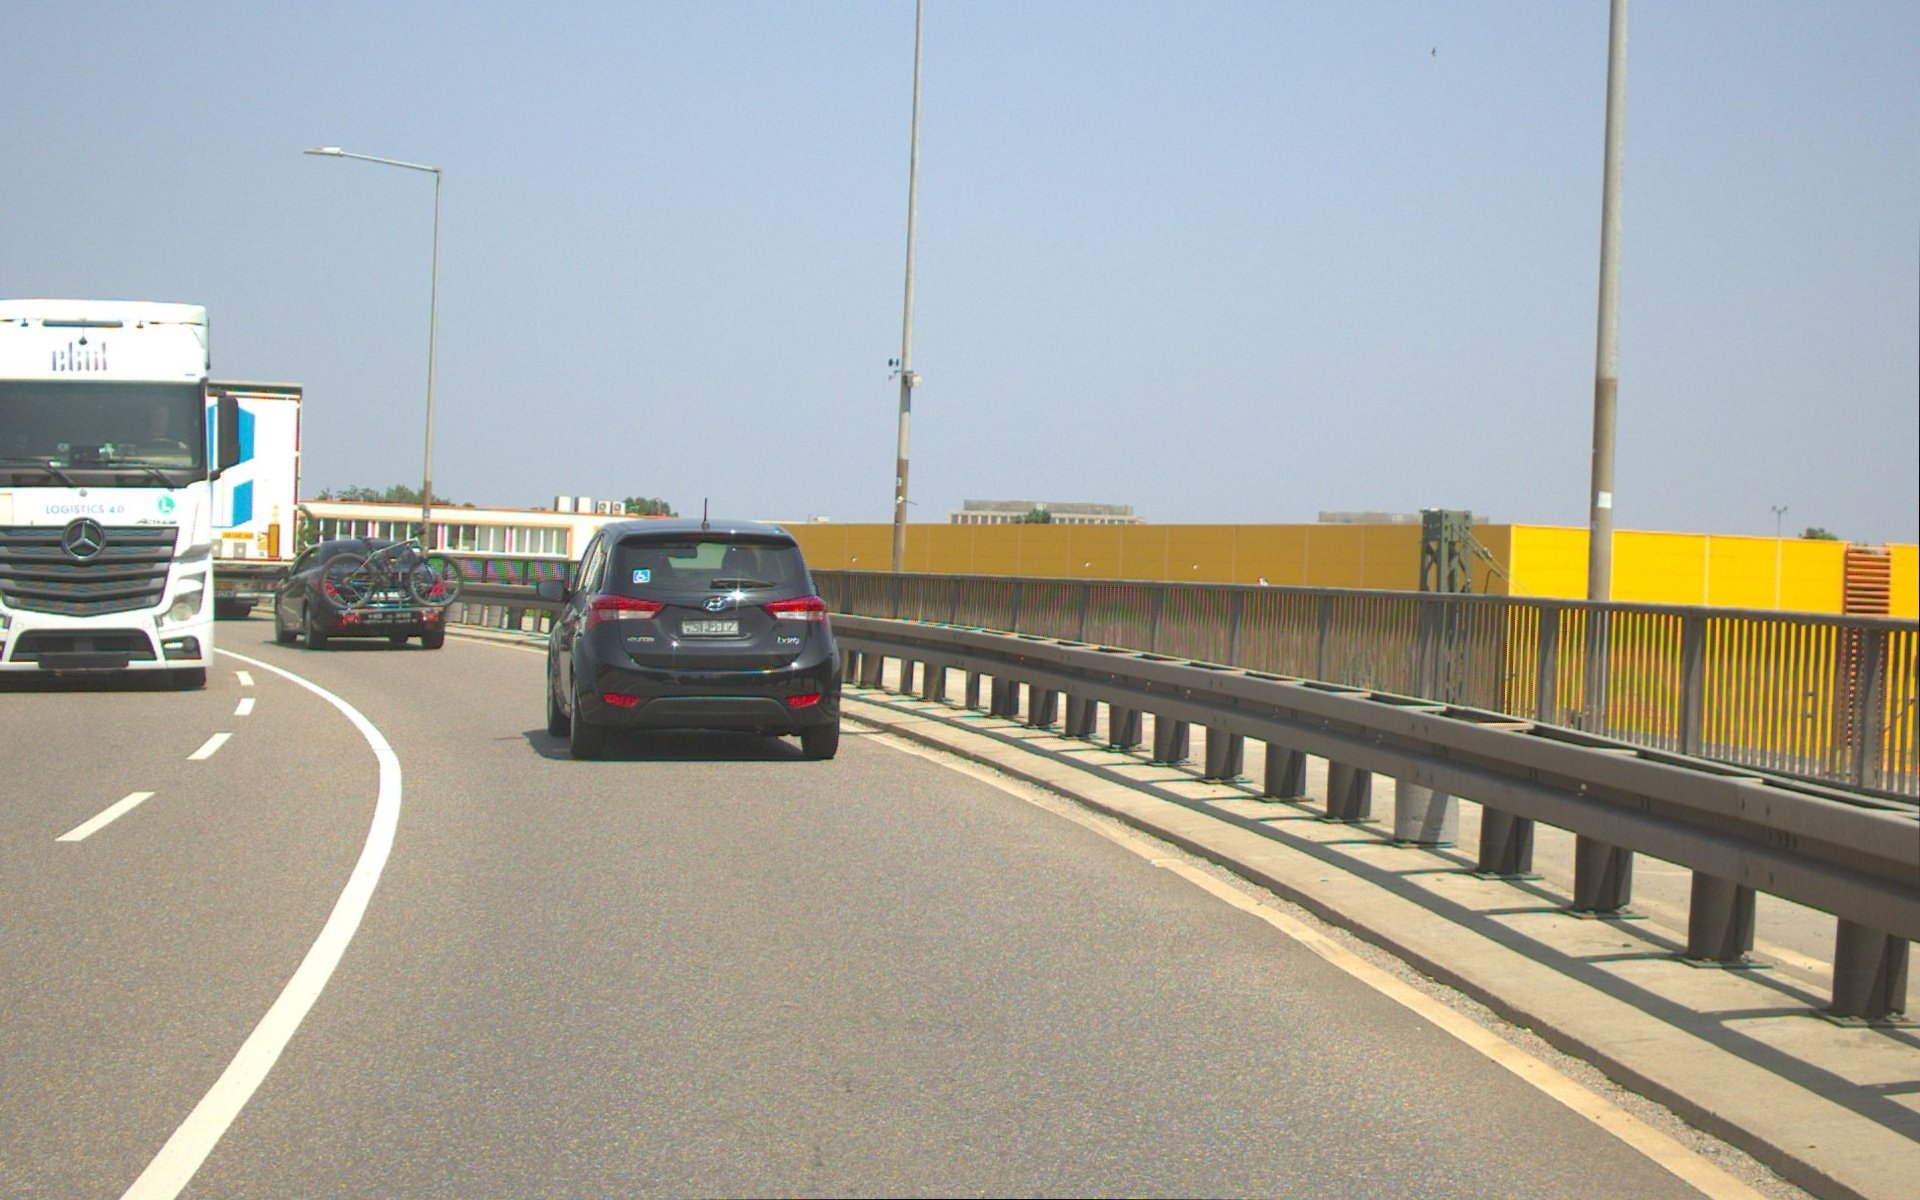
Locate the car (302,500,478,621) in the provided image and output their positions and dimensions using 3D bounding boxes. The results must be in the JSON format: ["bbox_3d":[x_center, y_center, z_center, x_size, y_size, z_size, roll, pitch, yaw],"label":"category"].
[{"bbox_3d":[-7.444,-0.539,44.624,2.011,1.424,3.778,1,2,-13],"label":"car"}]

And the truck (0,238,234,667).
[{"bbox_3d":[-8.881,-1.495,35.259,2.705,3.977,6.188,1,2,-12],"label":"truck"}]

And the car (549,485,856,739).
[{"bbox_3d":[-1.846,0.019,23.831,1.921,1.568,3.893,1,2,-6],"label":"car"}]

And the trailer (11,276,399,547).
[{"bbox_3d":[-13.808,-3.314,61.795,3.569,4.369,11.442,0,2,-29],"label":"trailer"}]
